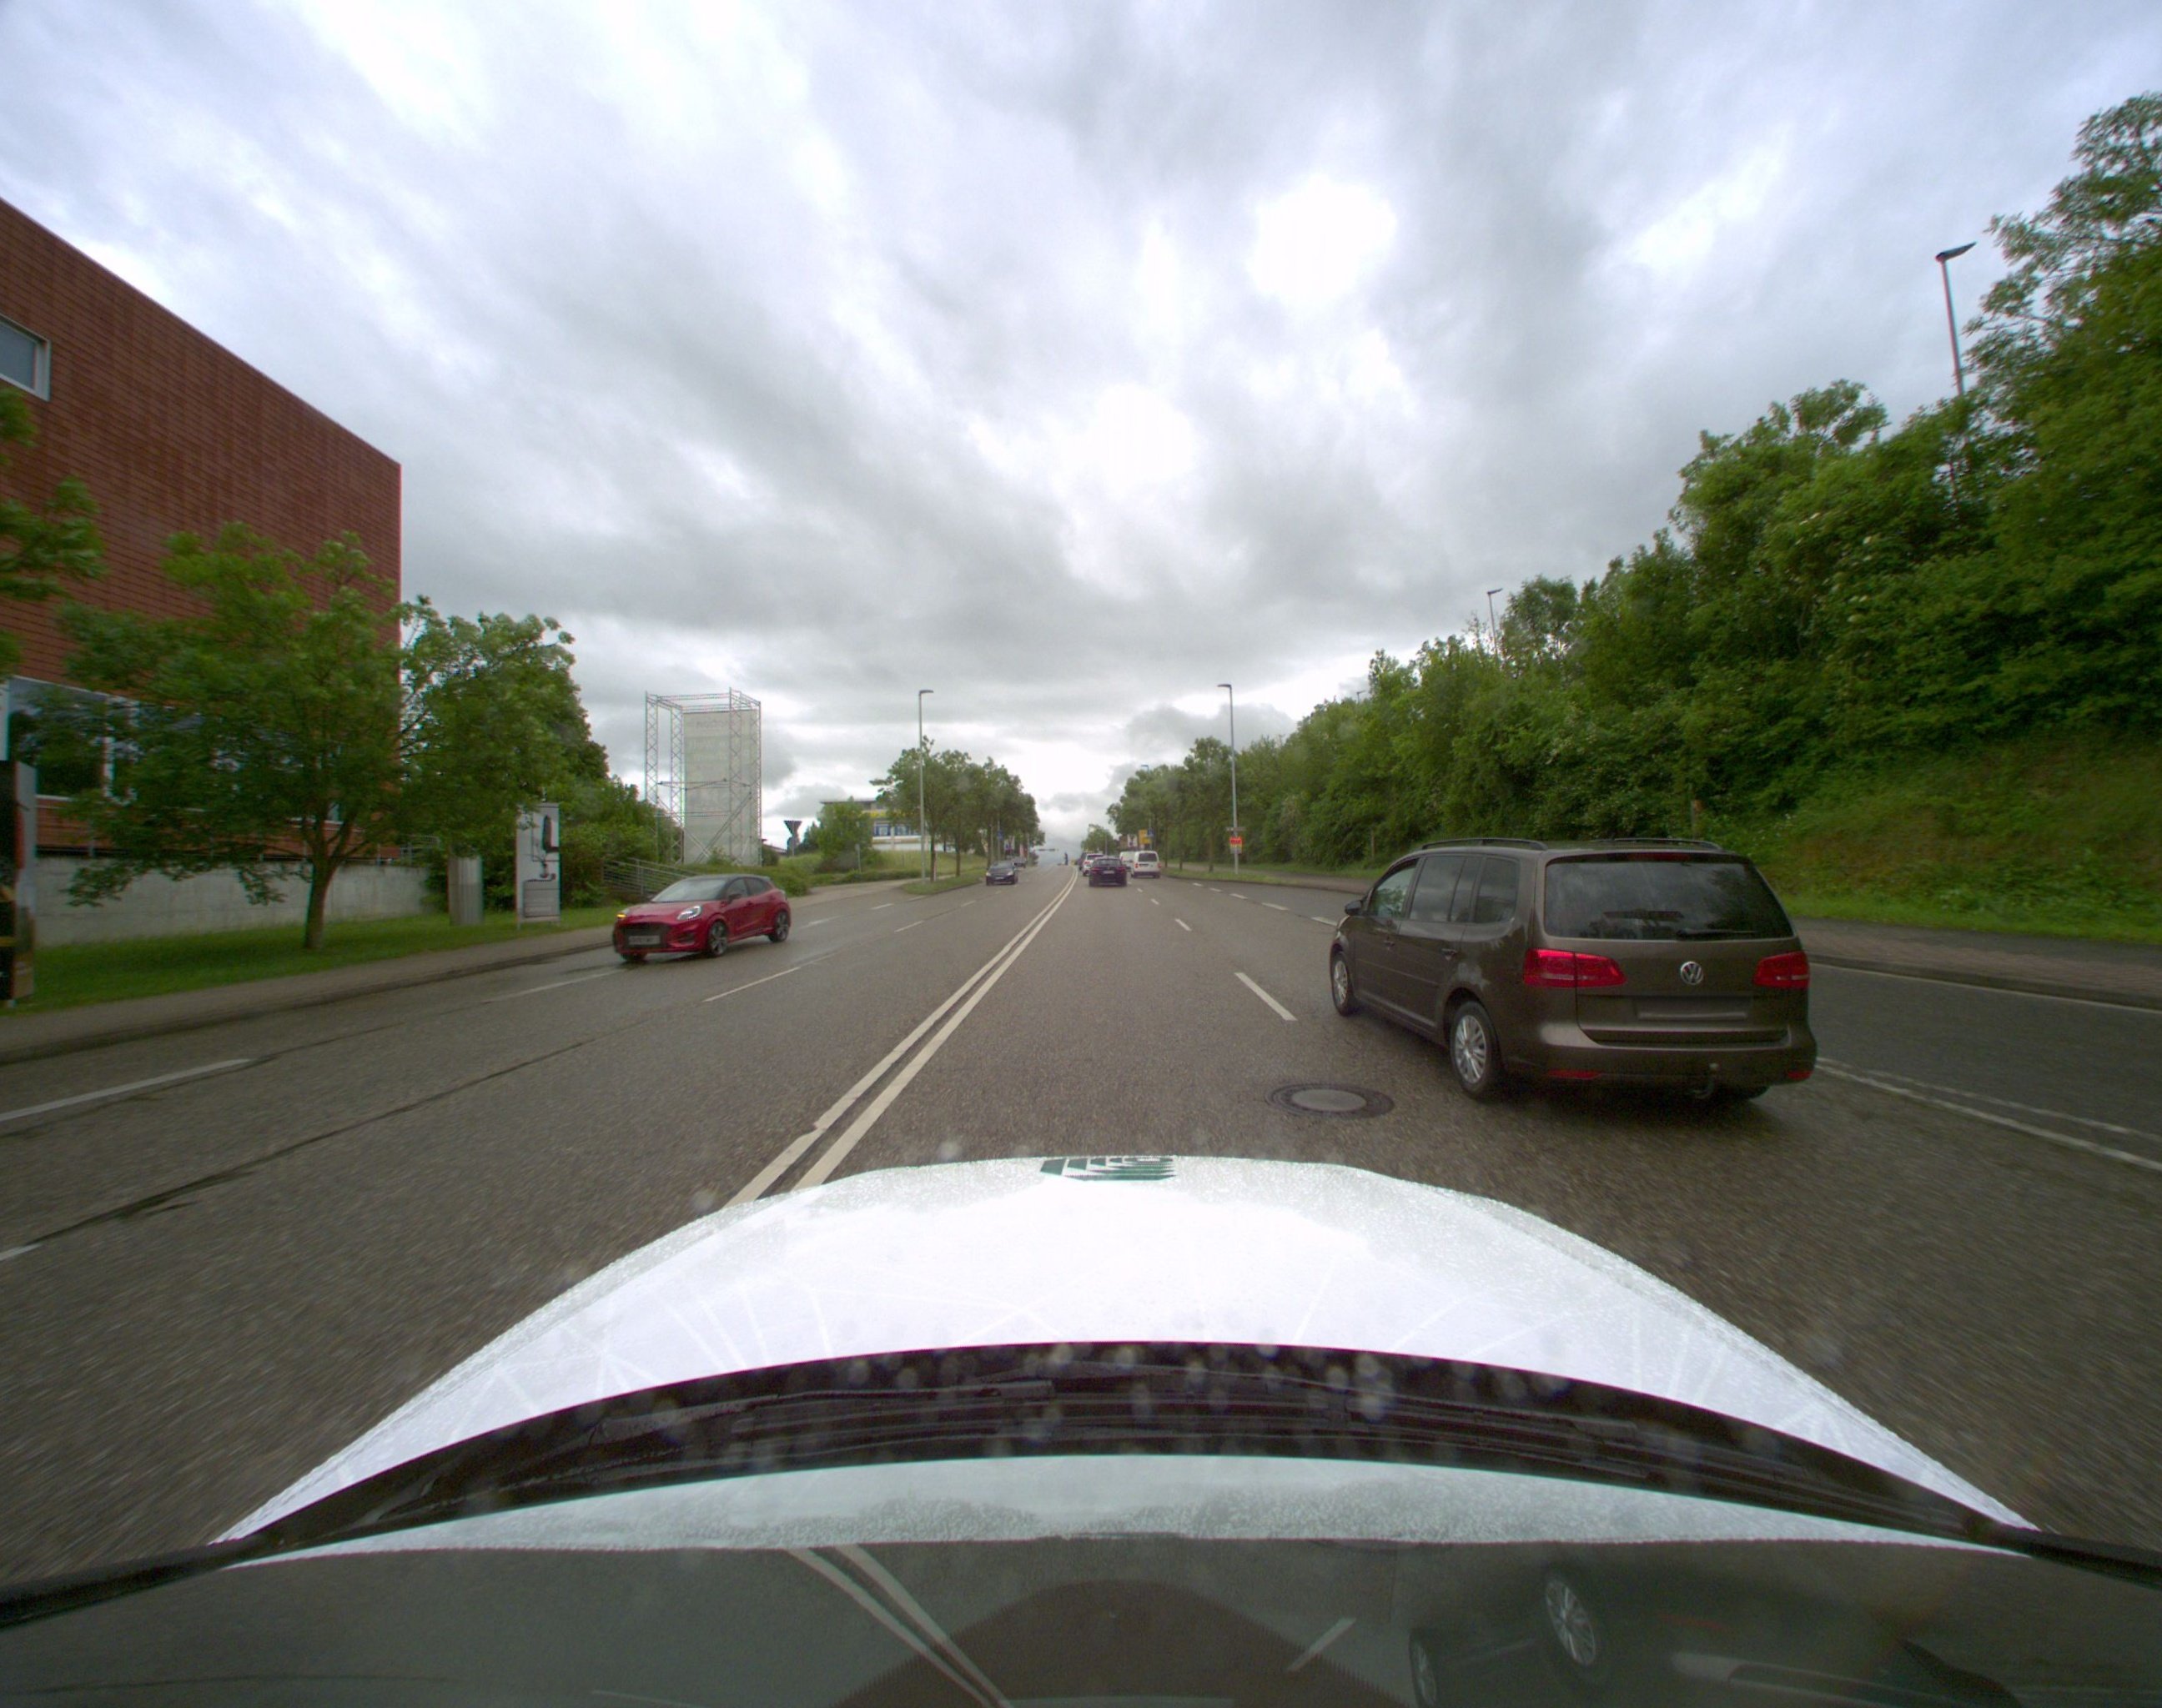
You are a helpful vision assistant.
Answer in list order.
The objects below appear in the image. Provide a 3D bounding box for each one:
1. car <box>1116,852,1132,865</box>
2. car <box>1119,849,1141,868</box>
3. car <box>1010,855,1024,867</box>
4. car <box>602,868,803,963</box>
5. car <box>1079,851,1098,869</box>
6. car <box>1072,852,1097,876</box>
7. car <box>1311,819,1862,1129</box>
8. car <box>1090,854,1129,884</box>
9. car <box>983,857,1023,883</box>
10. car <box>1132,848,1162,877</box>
[{"bbox_3d":[4.836,0.550,91.837,1.595,1.372,3.680,-2,0,0],"label":"car"},{"bbox_3d":[4.589,0.411,76.797,1.808,1.708,3.946,-2,0,1],"label":"car"},{"bbox_3d":[-9.302,1.028,118.879,1.721,1.668,4.486,0,0,-1],"label":"car"},{"bbox_3d":[-7.339,1.113,16.333,1.668,1.506,4.223,-3,0,6],"label":"car"},{"bbox_3d":[0.775,0.579,82.259,1.752,1.708,3.946,-2,0,1],"label":"car"},{"bbox_3d":[0.275,0.713,60.480,1.722,1.711,3.384,0,0,2],"label":"car"},{"bbox_3d":[3.233,0.638,6.330,1.708,1.596,4.129,-1,0,0],"label":"car"},{"bbox_3d":[1.420,0.730,41.006,1.848,1.419,3.957,0,0,1],"label":"car"},{"bbox_3d":[-4.775,0.952,50.615,1.729,1.454,4.005,-3,0,4],"label":"car"},{"bbox_3d":[4.383,0.570,54.313,1.735,1.869,3.946,0,0,1],"label":"car"}]
